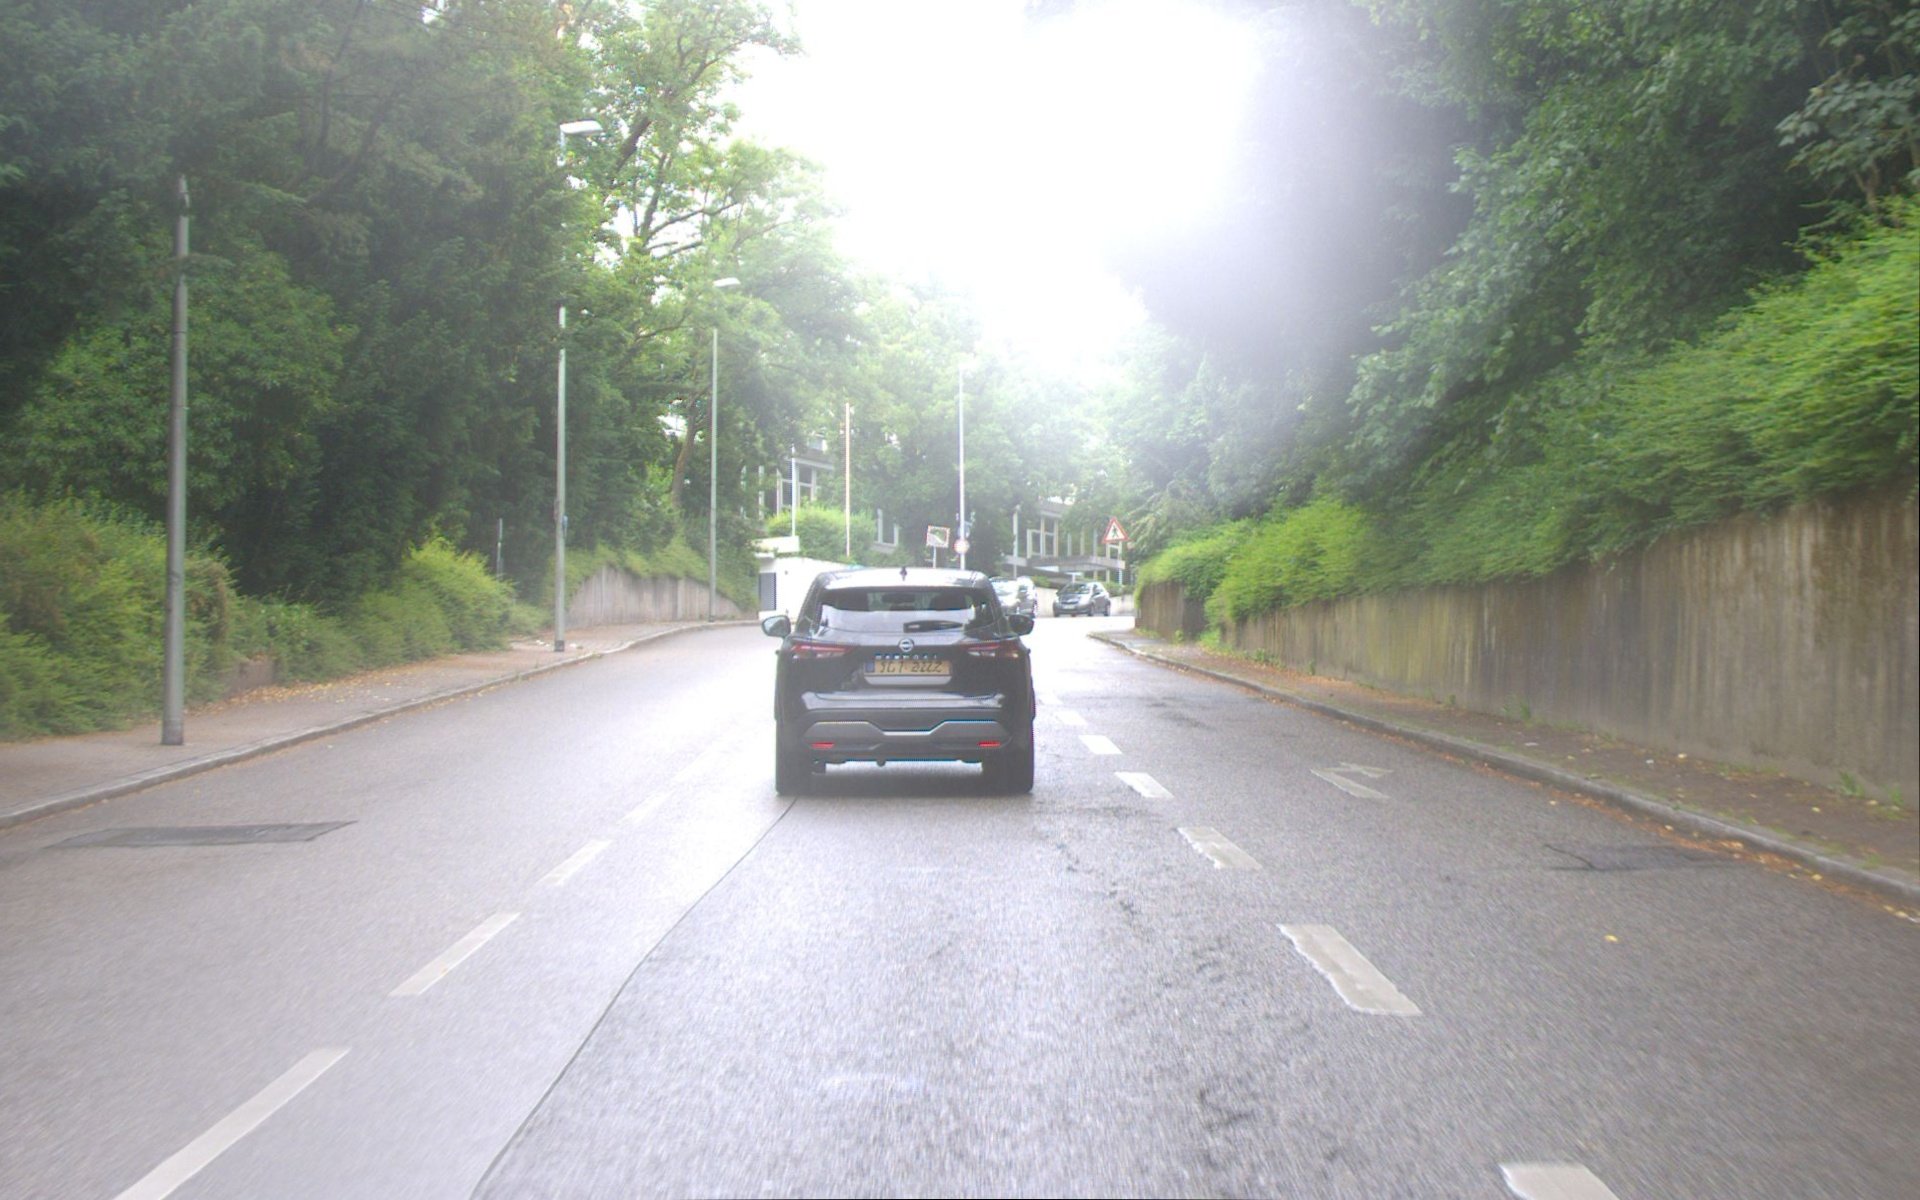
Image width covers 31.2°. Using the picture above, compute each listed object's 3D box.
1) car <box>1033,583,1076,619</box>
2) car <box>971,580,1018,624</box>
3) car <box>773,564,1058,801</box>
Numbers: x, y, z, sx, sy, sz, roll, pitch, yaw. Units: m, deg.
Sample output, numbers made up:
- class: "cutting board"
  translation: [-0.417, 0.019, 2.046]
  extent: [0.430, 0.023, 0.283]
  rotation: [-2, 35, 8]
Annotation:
- class: "car"
  translation: [3.981, 0.046, 145.245]
  extent: [1.675, 1.491, 3.460]
  rotation: [0, 0, -1]
- class: "car"
  translation: [1.368, 0.059, 136.240]
  extent: [1.830, 1.705, 4.000]
  rotation: [0, 0, 1]
- class: "car"
  translation: [-0.329, 0.541, 25.357]
  extent: [1.928, 1.607, 4.000]
  rotation: [0, 0, -1]
